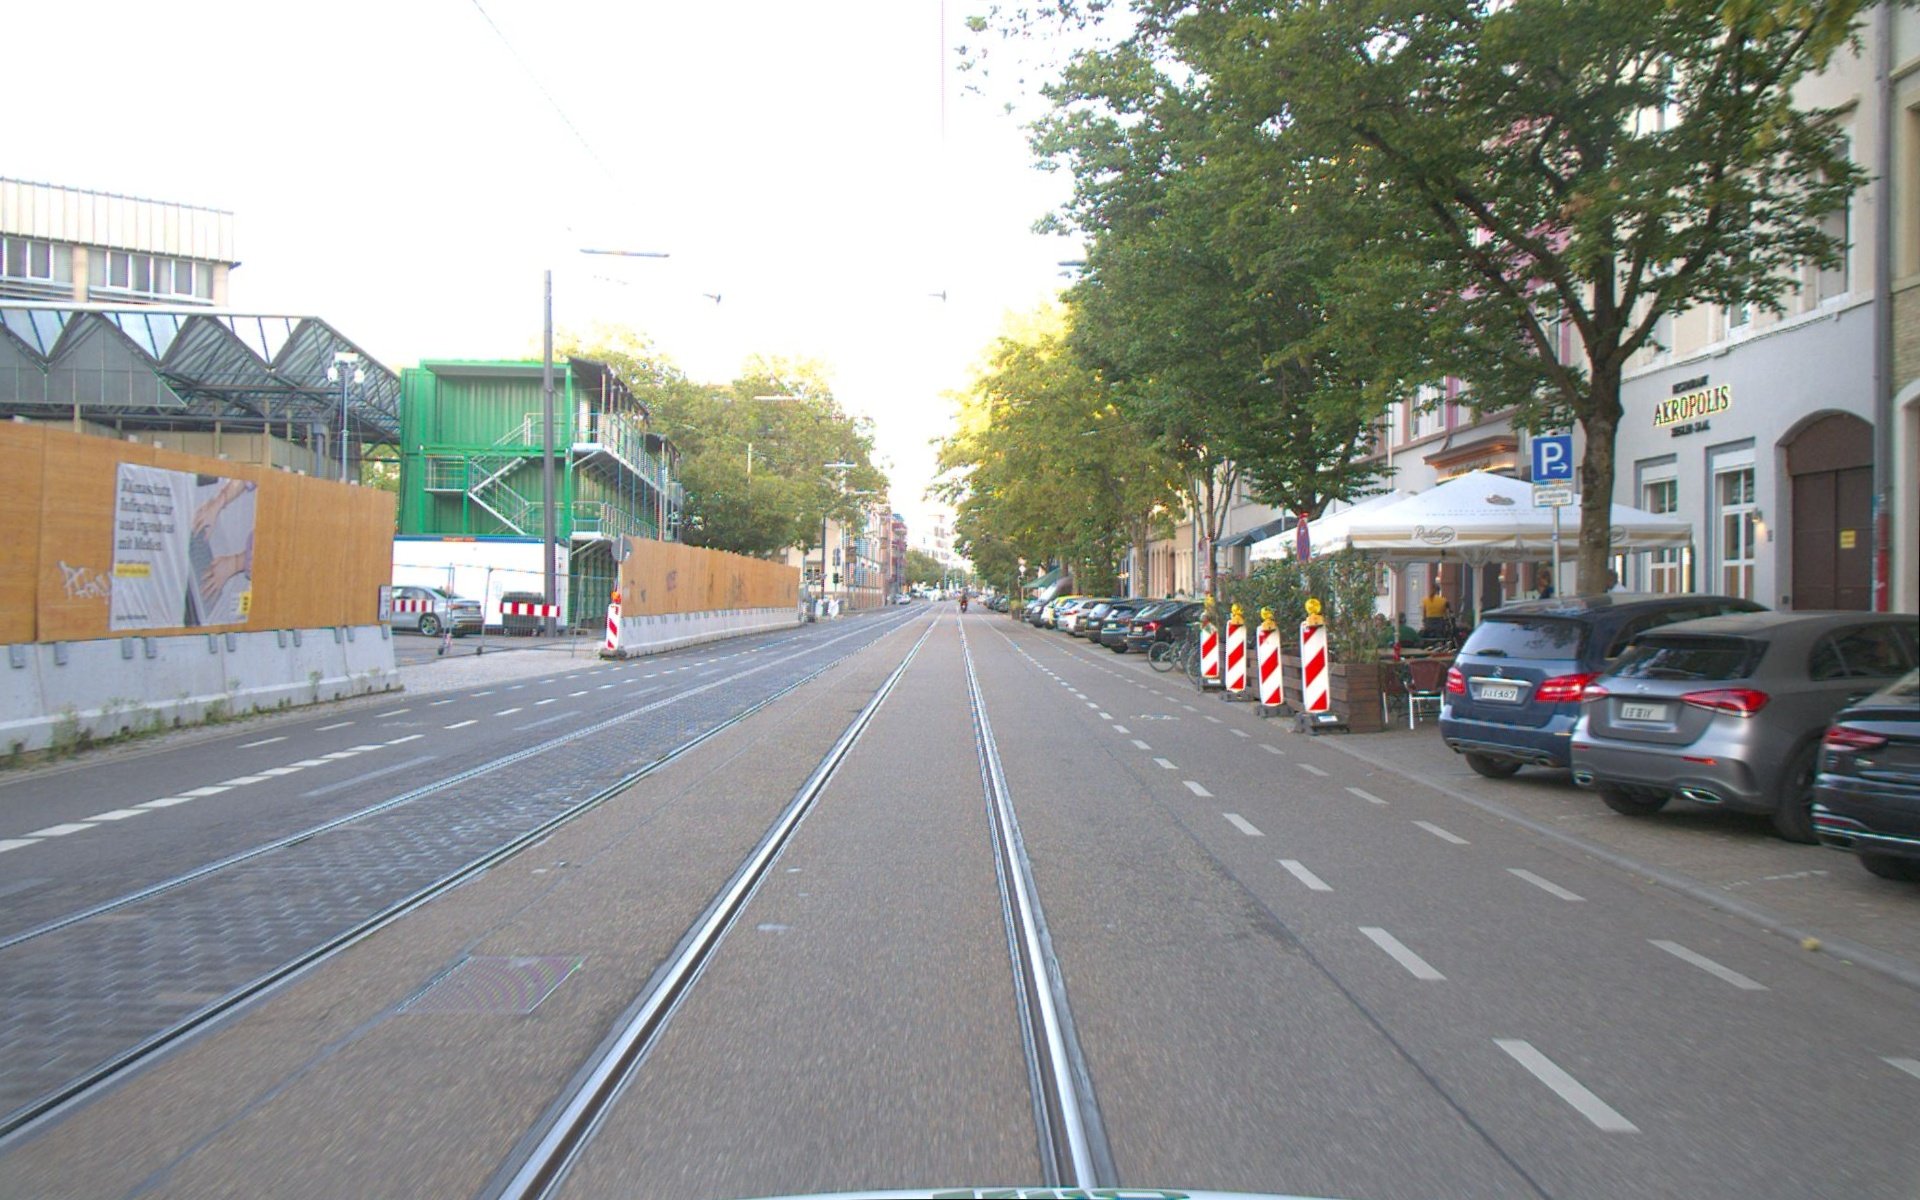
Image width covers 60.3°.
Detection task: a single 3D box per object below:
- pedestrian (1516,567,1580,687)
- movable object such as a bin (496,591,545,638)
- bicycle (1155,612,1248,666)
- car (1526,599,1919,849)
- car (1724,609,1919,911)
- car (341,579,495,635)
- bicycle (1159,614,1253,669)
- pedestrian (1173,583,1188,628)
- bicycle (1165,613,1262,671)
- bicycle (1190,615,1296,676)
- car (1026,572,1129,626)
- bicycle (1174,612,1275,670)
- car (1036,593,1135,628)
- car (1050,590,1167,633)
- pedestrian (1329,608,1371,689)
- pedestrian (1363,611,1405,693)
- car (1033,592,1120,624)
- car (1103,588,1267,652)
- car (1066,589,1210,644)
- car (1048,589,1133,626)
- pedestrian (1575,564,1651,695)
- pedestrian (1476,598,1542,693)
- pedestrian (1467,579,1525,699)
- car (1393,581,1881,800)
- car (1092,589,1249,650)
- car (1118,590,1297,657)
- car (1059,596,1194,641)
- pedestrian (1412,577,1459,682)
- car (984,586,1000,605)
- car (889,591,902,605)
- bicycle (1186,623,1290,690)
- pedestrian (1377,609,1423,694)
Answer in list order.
[{"bbox_3d":[8.969,0.402,25.256,0.541,1.794,0.850,1,0,-12],"label":"pedestrian"},{"bbox_3d":[-13.377,0.429,50.376,1.280,1.393,0.783,1,0,-4],"label":"movable object such as a bin"},{"bbox_3d":[5.167,0.840,35.436,1.865,1.049,0.533,-3,0,-2],"label":"bicycle"},{"bbox_3d":[6.003,0.752,11.618,3.726,1.432,1.692,-2,0,-26],"label":"car"},{"bbox_3d":[6.502,0.735,9.221,4.257,1.413,1.792,-2,1,-26],"label":"car"},{"bbox_3d":[-15.833,0.195,48.371,3.910,1.427,1.737,3,1,14],"label":"car"},{"bbox_3d":[5.176,0.874,34.846,1.826,1.049,0.591,-3,0,-3],"label":"bicycle"},{"bbox_3d":[9.042,0.239,67.957,0.554,1.846,0.607,0,0,2],"label":"pedestrian"},{"bbox_3d":[5.231,0.862,34.193,1.849,1.086,0.674,-3,0,-2],"label":"bicycle"},{"bbox_3d":[5.353,0.851,31.327,1.849,1.049,0.608,-3,0,-2],"label":"bicycle"},{"bbox_3d":[6.179,-0.068,86.910,5.014,2.689,2.012,-1,0,-17],"label":"car"},{"bbox_3d":[5.236,0.805,32.777,1.849,1.049,0.608,-3,0,-2],"label":"bicycle"},{"bbox_3d":[5.703,0.475,74.926,4.070,1.450,1.905,-1,0,-26],"label":"car"},{"bbox_3d":[5.806,0.437,64.861,4.174,1.576,2.014,-1,0,-11],"label":"car"},{"bbox_3d":[6.427,0.789,27.246,0.492,1.315,0.599,1,0,-5],"label":"pedestrian"},{"bbox_3d":[6.998,0.854,27.318,0.492,1.315,0.599,1,0,-5],"label":"pedestrian"},{"bbox_3d":[5.786,0.390,82.096,3.899,1.512,1.906,-1,-1,-24],"label":"car"},{"bbox_3d":[6.044,0.528,44.534,3.886,1.496,1.992,-3,1,-17],"label":"car"},{"bbox_3d":[5.616,0.514,52.301,4.064,1.496,2.000,-3,1,-25],"label":"car"},{"bbox_3d":[6.157,0.358,78.394,3.869,1.648,1.921,-1,0,0],"label":"car"},{"bbox_3d":[9.144,0.409,23.169,0.694,1.794,0.709,1,0,-28],"label":"pedestrian"},{"bbox_3d":[7.828,0.639,23.584,0.544,1.329,0.709,1,0,-27],"label":"pedestrian"},{"bbox_3d":[8.184,0.590,25.251,0.541,1.794,0.713,1,0,-12],"label":"pedestrian"},{"bbox_3d":[5.817,0.681,14.167,3.912,1.580,1.692,-2,0,-26],"label":"car"},{"bbox_3d":[5.991,0.539,47.210,4.052,1.496,1.814,-3,1,-18],"label":"car"},{"bbox_3d":[6.259,0.582,41.934,4.099,1.451,1.813,-3,1,-19],"label":"car"},{"bbox_3d":[5.701,0.621,56.669,4.194,1.416,2.001,-1,0,-24],"label":"car"},{"bbox_3d":[8.274,0.507,28.798,0.539,1.794,0.894,1,0,-1],"label":"pedestrian"},{"bbox_3d":[3.573,-0.520,184.792,1.686,2.049,4.000,1,0,0],"label":"car"},{"bbox_3d":[-10.121,-0.334,259.085,1.859,2.216,4.000,1,0,0],"label":"car"},{"bbox_3d":[4.773,0.960,28.402,1.645,1.049,0.556,-3,0,-2],"label":"bicycle"},{"bbox_3d":[6.909,0.803,25.982,0.585,1.315,0.504,1,0,1],"label":"pedestrian"}]
